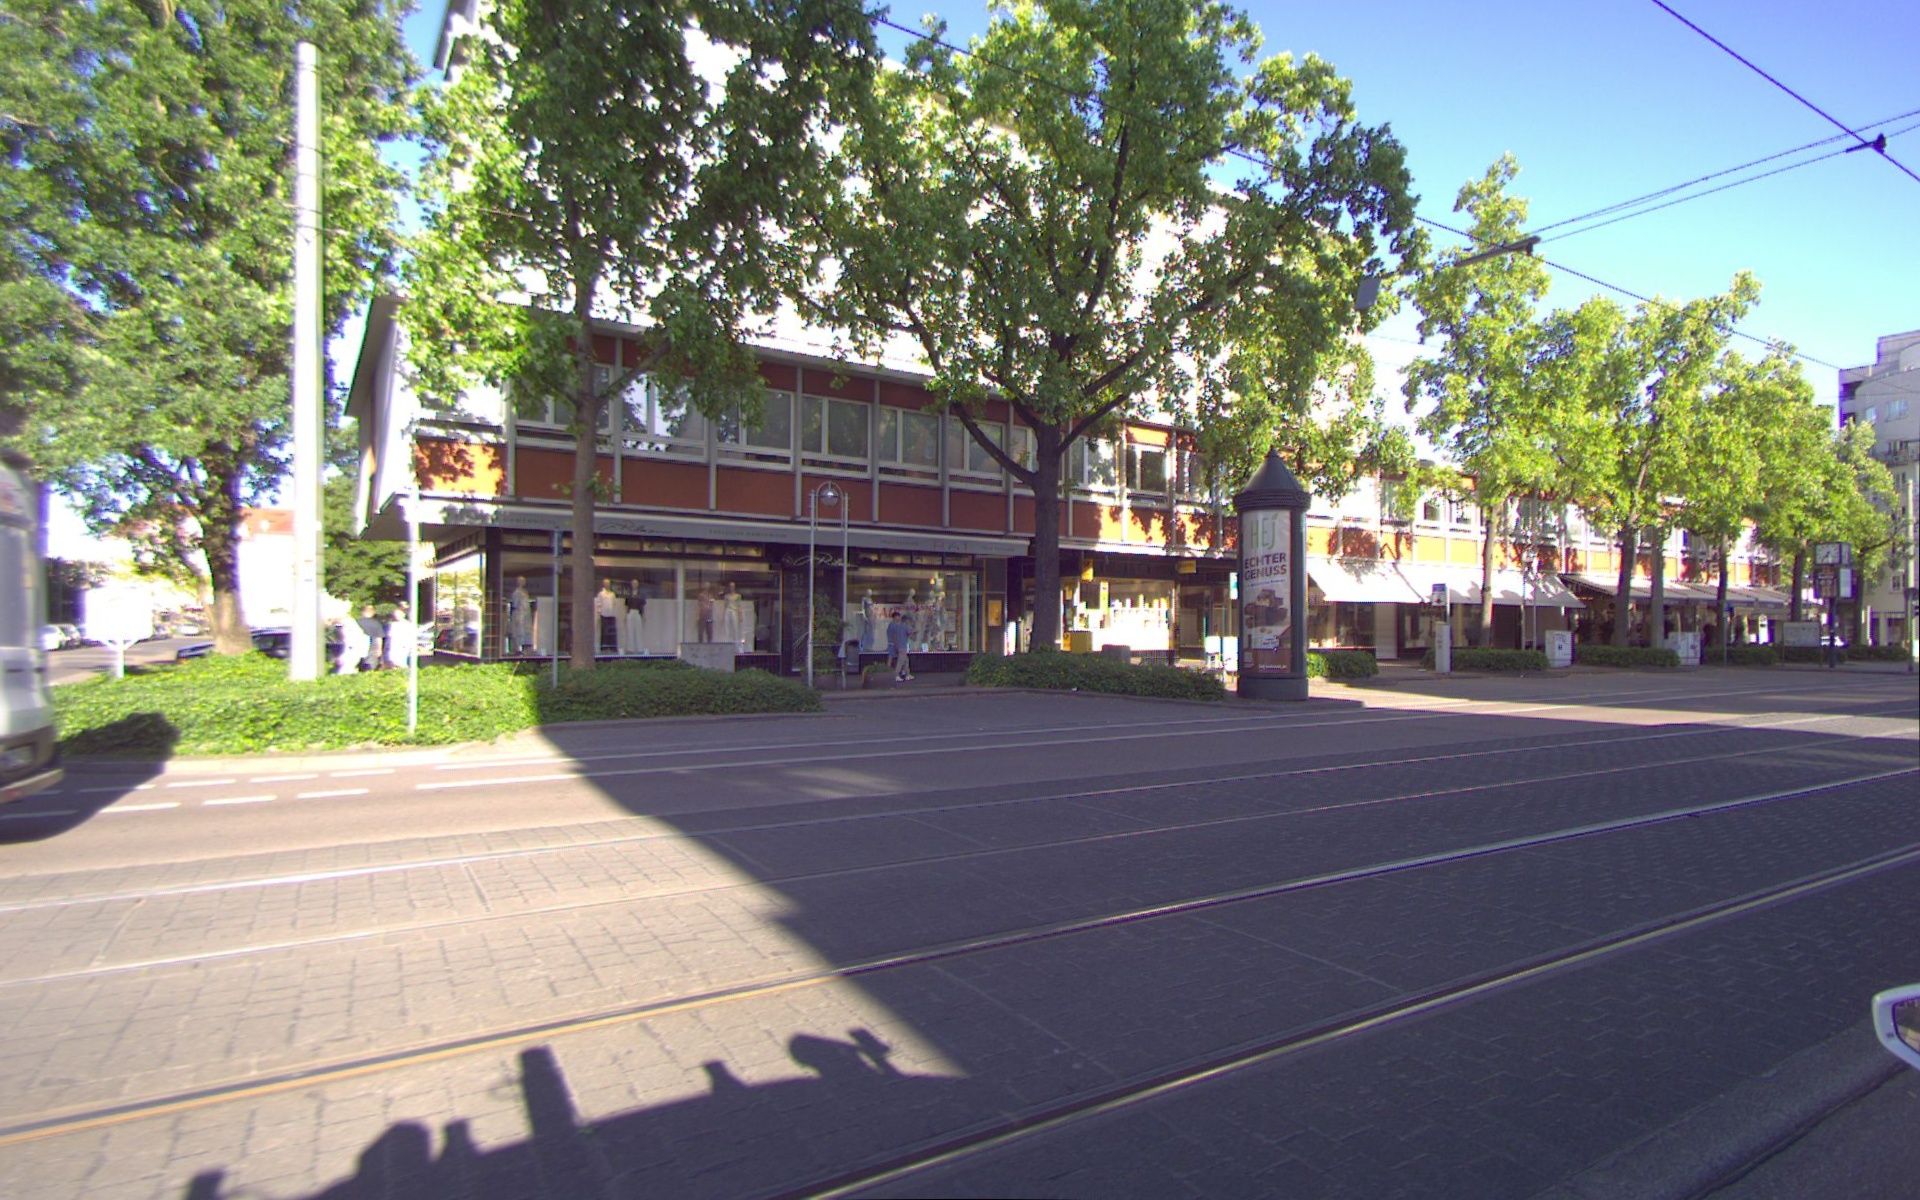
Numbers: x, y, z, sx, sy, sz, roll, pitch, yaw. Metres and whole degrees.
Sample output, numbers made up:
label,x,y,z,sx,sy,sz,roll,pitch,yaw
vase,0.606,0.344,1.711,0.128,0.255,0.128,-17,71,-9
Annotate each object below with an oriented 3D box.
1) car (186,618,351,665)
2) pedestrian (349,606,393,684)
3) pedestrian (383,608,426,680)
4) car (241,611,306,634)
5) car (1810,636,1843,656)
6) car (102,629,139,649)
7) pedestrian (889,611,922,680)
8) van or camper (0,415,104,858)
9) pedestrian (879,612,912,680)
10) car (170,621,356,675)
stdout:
label,x,y,z,sx,sy,sz,roll,pitch,yaw
car,-24.781,1.478,36.230,4.669,1.550,1.984,1,0,-29
pedestrian,-12.316,0.935,21.018,0.711,1.613,0.445,1,-2,-22
pedestrian,-12.654,0.996,22.883,0.708,1.613,0.447,0,-1,-6
car,-62.187,2.032,91.056,4.784,2.040,1.982,1,-2,-34
car,71.187,3.742,82.503,4.075,1.422,1.780,-1,0,-45
car,-67.921,3.161,81.295,1.981,1.550,4.184,1,-2,-36
pedestrian,-1.435,1.195,26.417,0.698,1.795,0.570,1,-1,-30
van or camper,-9.287,0.190,5.326,6.946,2.775,2.024,1,-2,-34
pedestrian,-1.721,1.224,26.912,0.698,1.773,0.570,1,-1,-30
car,-22.046,1.497,32.055,4.669,1.550,1.984,1,1,-29
